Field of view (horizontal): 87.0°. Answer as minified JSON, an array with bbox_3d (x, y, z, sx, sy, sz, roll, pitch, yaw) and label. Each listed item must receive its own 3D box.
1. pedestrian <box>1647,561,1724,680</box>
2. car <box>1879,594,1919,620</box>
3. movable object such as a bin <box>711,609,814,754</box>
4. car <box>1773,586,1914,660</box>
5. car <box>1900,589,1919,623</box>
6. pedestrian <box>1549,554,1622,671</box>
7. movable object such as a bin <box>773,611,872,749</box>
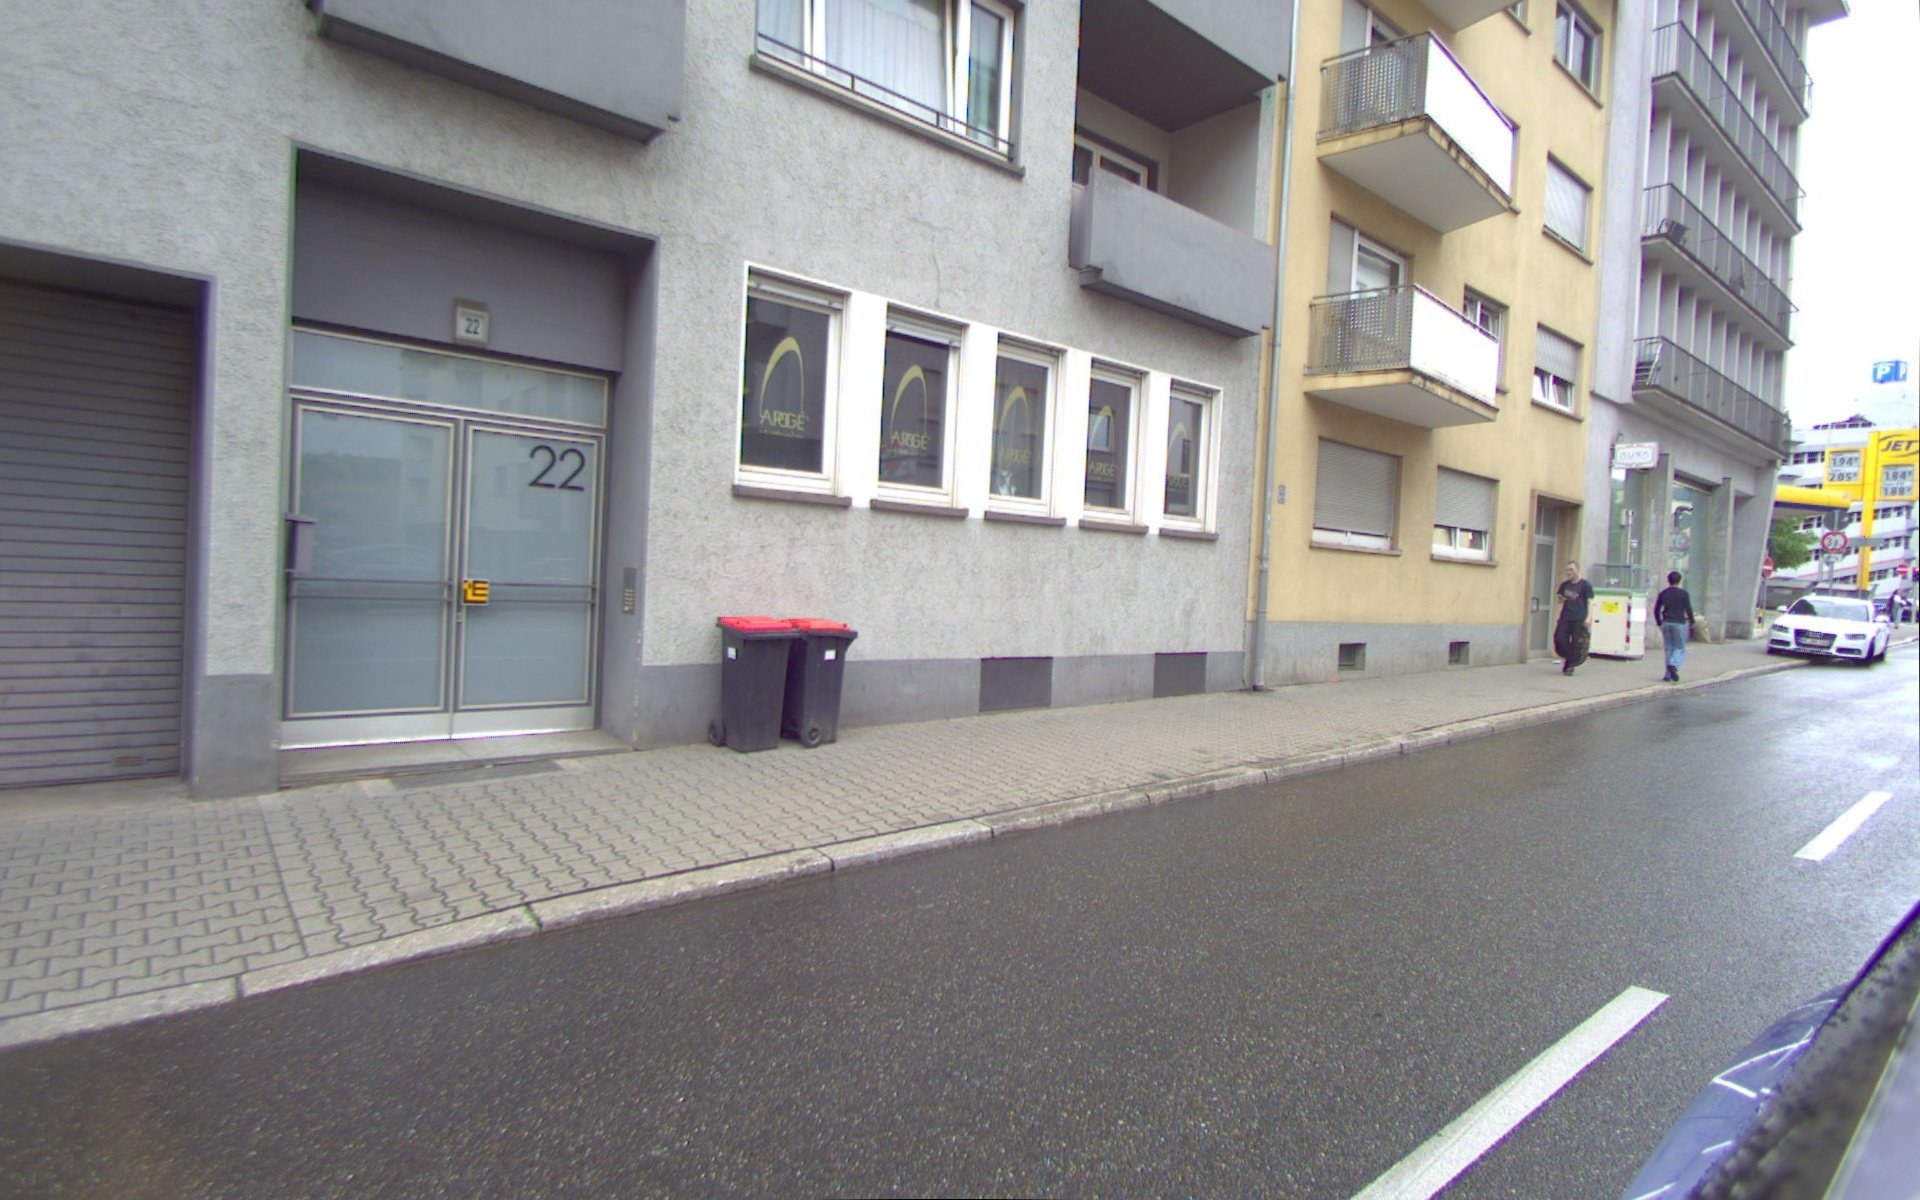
[{"bbox_3d":[11.621,0.312,16.207,1.038,1.799,0.644,0,5,-41],"label":"pedestrian"},{"bbox_3d":[55.371,0.400,57.729,1.737,1.463,4.003,0,0,-30],"label":"car"},{"bbox_3d":[-1.455,0.573,7.438,0.506,0.967,0.541,0,5,-40],"label":"movable object such as a bin"},{"bbox_3d":[20.128,0.461,23.012,4.093,1.453,1.803,0,4,-41],"label":"car"},{"bbox_3d":[54.040,0.428,54.903,1.960,1.782,4.005,1,3,-31],"label":"car"},{"bbox_3d":[9.915,0.181,16.035,0.873,1.777,0.679,0,3,-41],"label":"pedestrian"},{"bbox_3d":[-1.063,0.595,7.791,0.506,0.961,0.541,0,5,-40],"label":"movable object such as a bin"}]
